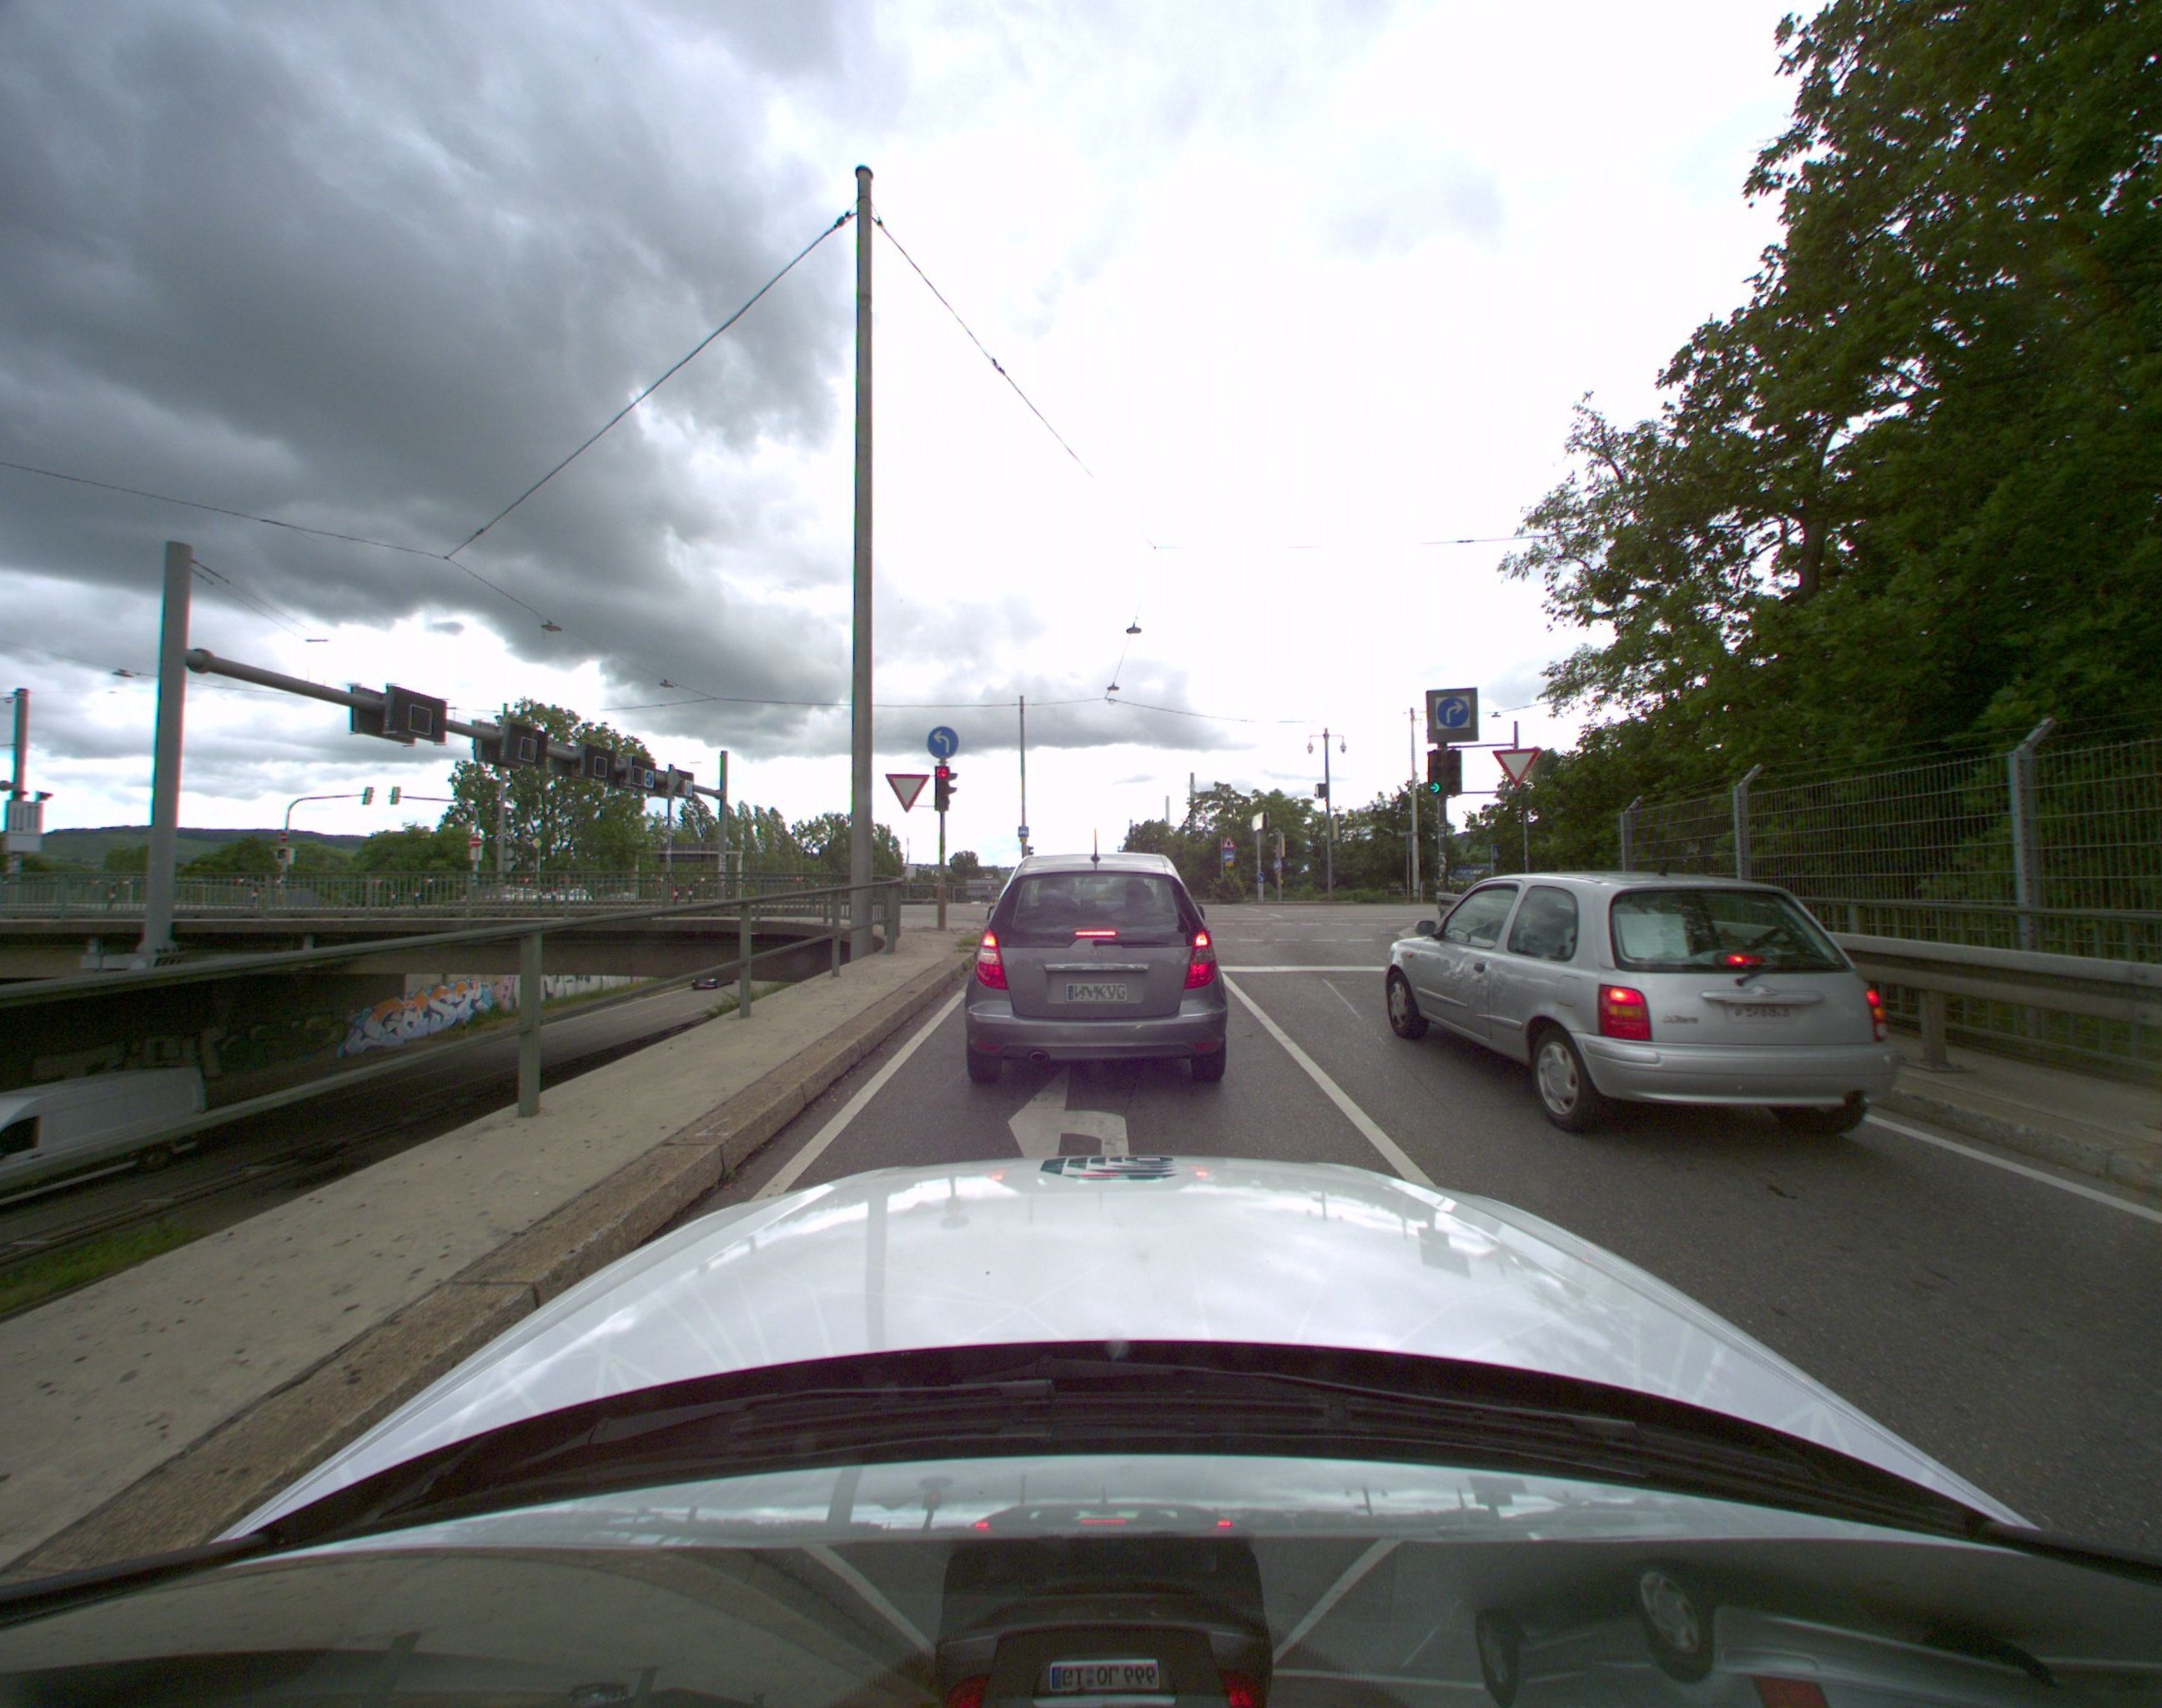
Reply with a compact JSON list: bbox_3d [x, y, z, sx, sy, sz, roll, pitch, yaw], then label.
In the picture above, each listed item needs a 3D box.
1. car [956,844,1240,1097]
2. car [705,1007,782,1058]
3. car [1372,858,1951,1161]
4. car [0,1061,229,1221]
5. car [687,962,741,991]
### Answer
[{"bbox_3d":[0.165,0.732,6.776,1.733,1.543,3.542,0,-1,2],"label":"car"},{"bbox_3d":[-14.698,7.770,35.668,1.685,1.533,3.610,-1,-3,3],"label":"car"},{"bbox_3d":[3.413,0.758,5.646,1.580,1.431,3.443,-1,0,1],"label":"car"},{"bbox_3d":[-25.015,6.962,19.693,2.158,2.595,6.104,-2,-3,2],"label":"car"},{"bbox_3d":[-28.167,9.408,62.667,1.853,1.652,4.634,-2,-3,2],"label":"car"}]
